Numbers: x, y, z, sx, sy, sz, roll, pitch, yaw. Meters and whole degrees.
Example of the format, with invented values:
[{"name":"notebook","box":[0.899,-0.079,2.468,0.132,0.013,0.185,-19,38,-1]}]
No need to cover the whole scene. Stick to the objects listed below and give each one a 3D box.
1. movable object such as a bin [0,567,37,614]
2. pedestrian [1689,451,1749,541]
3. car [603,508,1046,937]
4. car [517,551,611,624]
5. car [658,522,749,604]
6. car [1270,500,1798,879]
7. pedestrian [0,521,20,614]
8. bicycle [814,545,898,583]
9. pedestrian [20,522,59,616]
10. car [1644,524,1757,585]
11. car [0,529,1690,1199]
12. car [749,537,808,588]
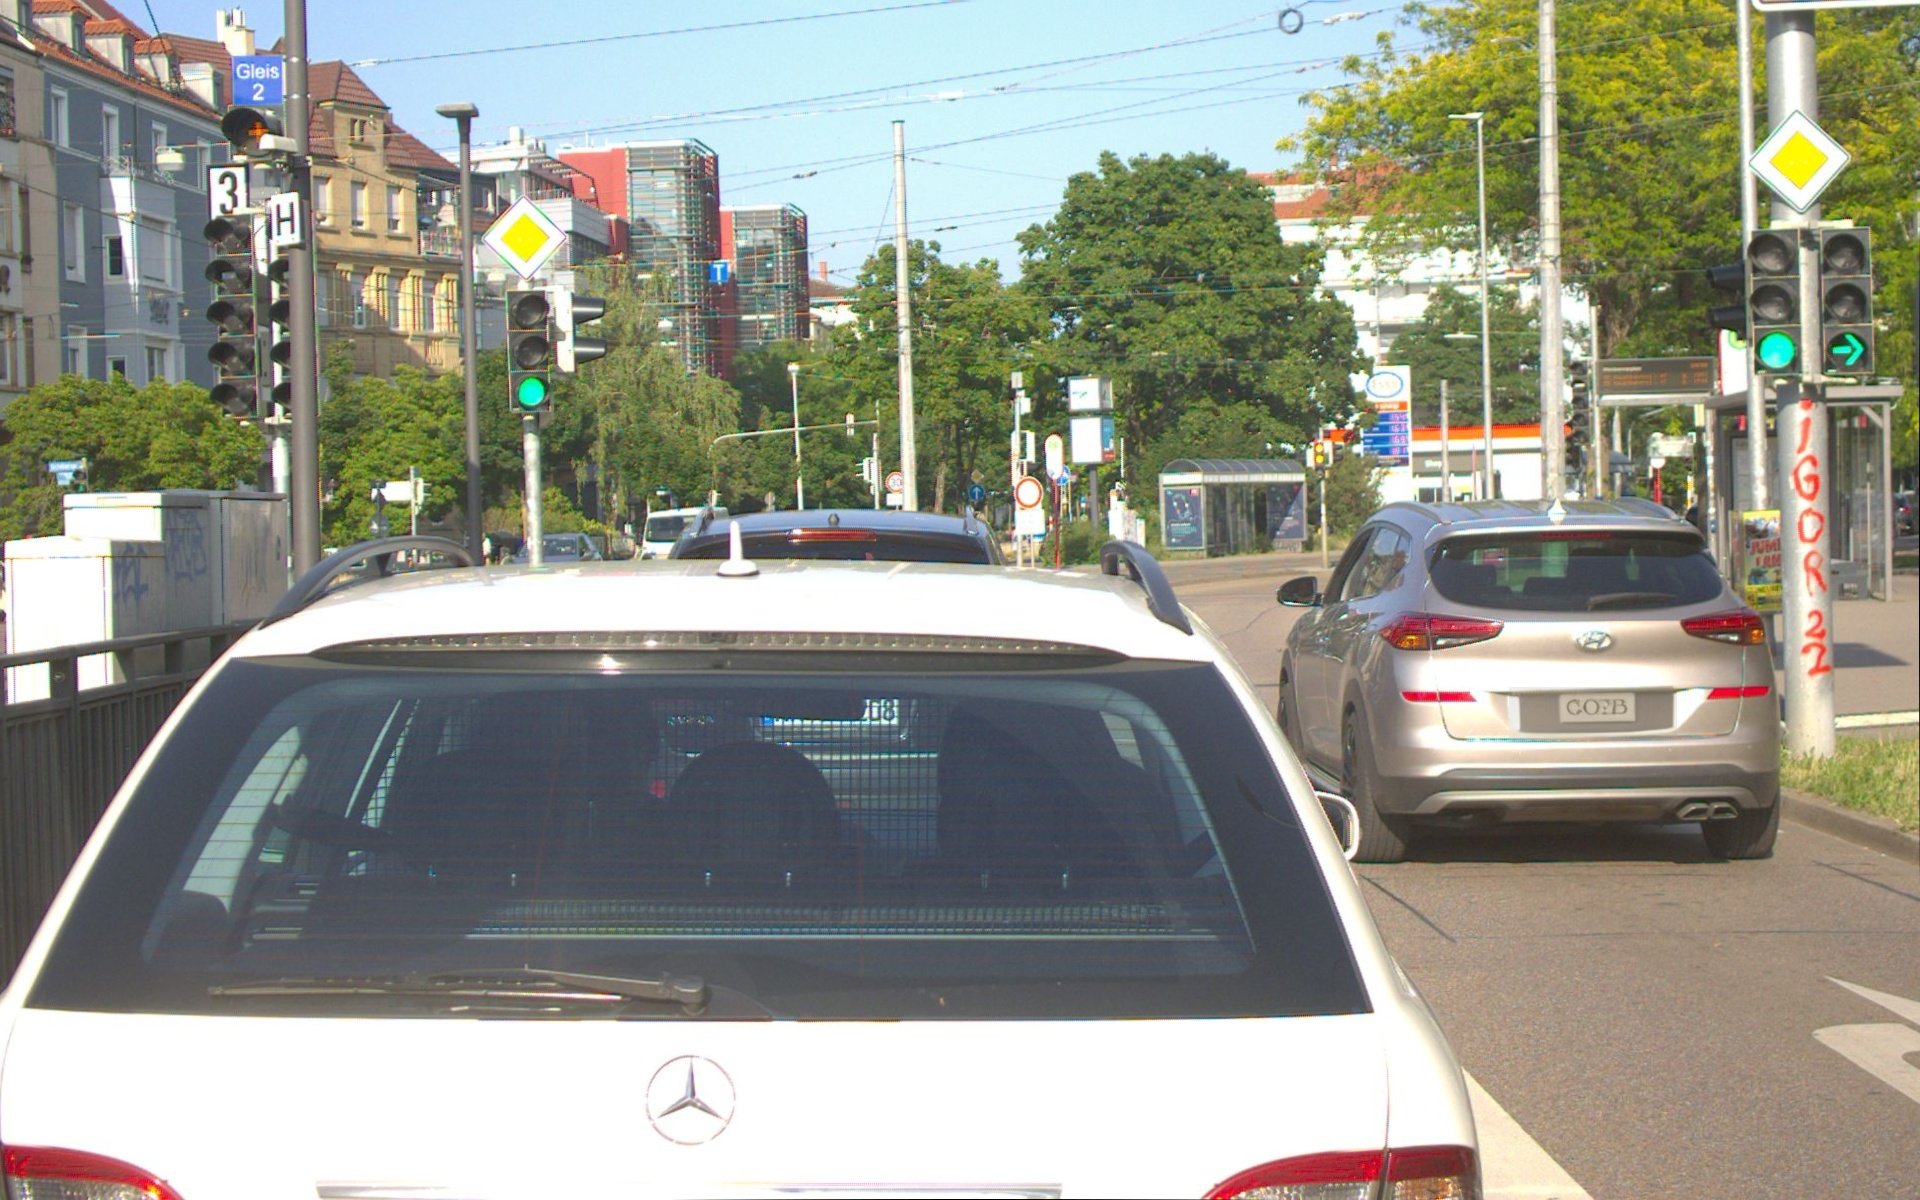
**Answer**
[{"name":"movable object such as a bin","box":[-19.394,-0.205,70.775,0.583,0.943,0.663,-2,1,2]},{"name":"pedestrian","box":[17.277,-2.363,78.297,0.825,2.007,0.998,-3,1,-40]},{"name":"car","box":[-0.525,0.415,14.678,1.641,1.594,3.815,0,1,-1]},{"name":"car","box":[-9.326,-0.309,81.250,1.676,1.520,4.125,-2,2,0]},{"name":"car","box":[-7.375,-1.097,99.326,2.177,2.231,5.253,-2,2,0]},{"name":"car","box":[2.589,0.336,16.387,1.835,1.594,3.815,0,1,-1]},{"name":"pedestrian","box":[-19.421,-0.661,69.583,0.584,1.874,0.627,-2,1,-1]},{"name":"bicycle","box":[-2.738,-0.951,90.750,2.019,0.943,0.878,-1,1,19]},{"name":"pedestrian","box":[-18.713,-0.638,69.890,0.584,1.874,0.627,-2,2,-3]},{"name":"car","box":[20.388,-1.266,94.569,1.856,1.510,3.994,-2,1,30]},{"name":"car","box":[-0.267,0.648,5.084,1.835,1.496,3.815,0,1,-1]},{"name":"car","box":[-6.150,-1.283,116.846,1.767,1.489,4.745,-2,3,-1]}]
